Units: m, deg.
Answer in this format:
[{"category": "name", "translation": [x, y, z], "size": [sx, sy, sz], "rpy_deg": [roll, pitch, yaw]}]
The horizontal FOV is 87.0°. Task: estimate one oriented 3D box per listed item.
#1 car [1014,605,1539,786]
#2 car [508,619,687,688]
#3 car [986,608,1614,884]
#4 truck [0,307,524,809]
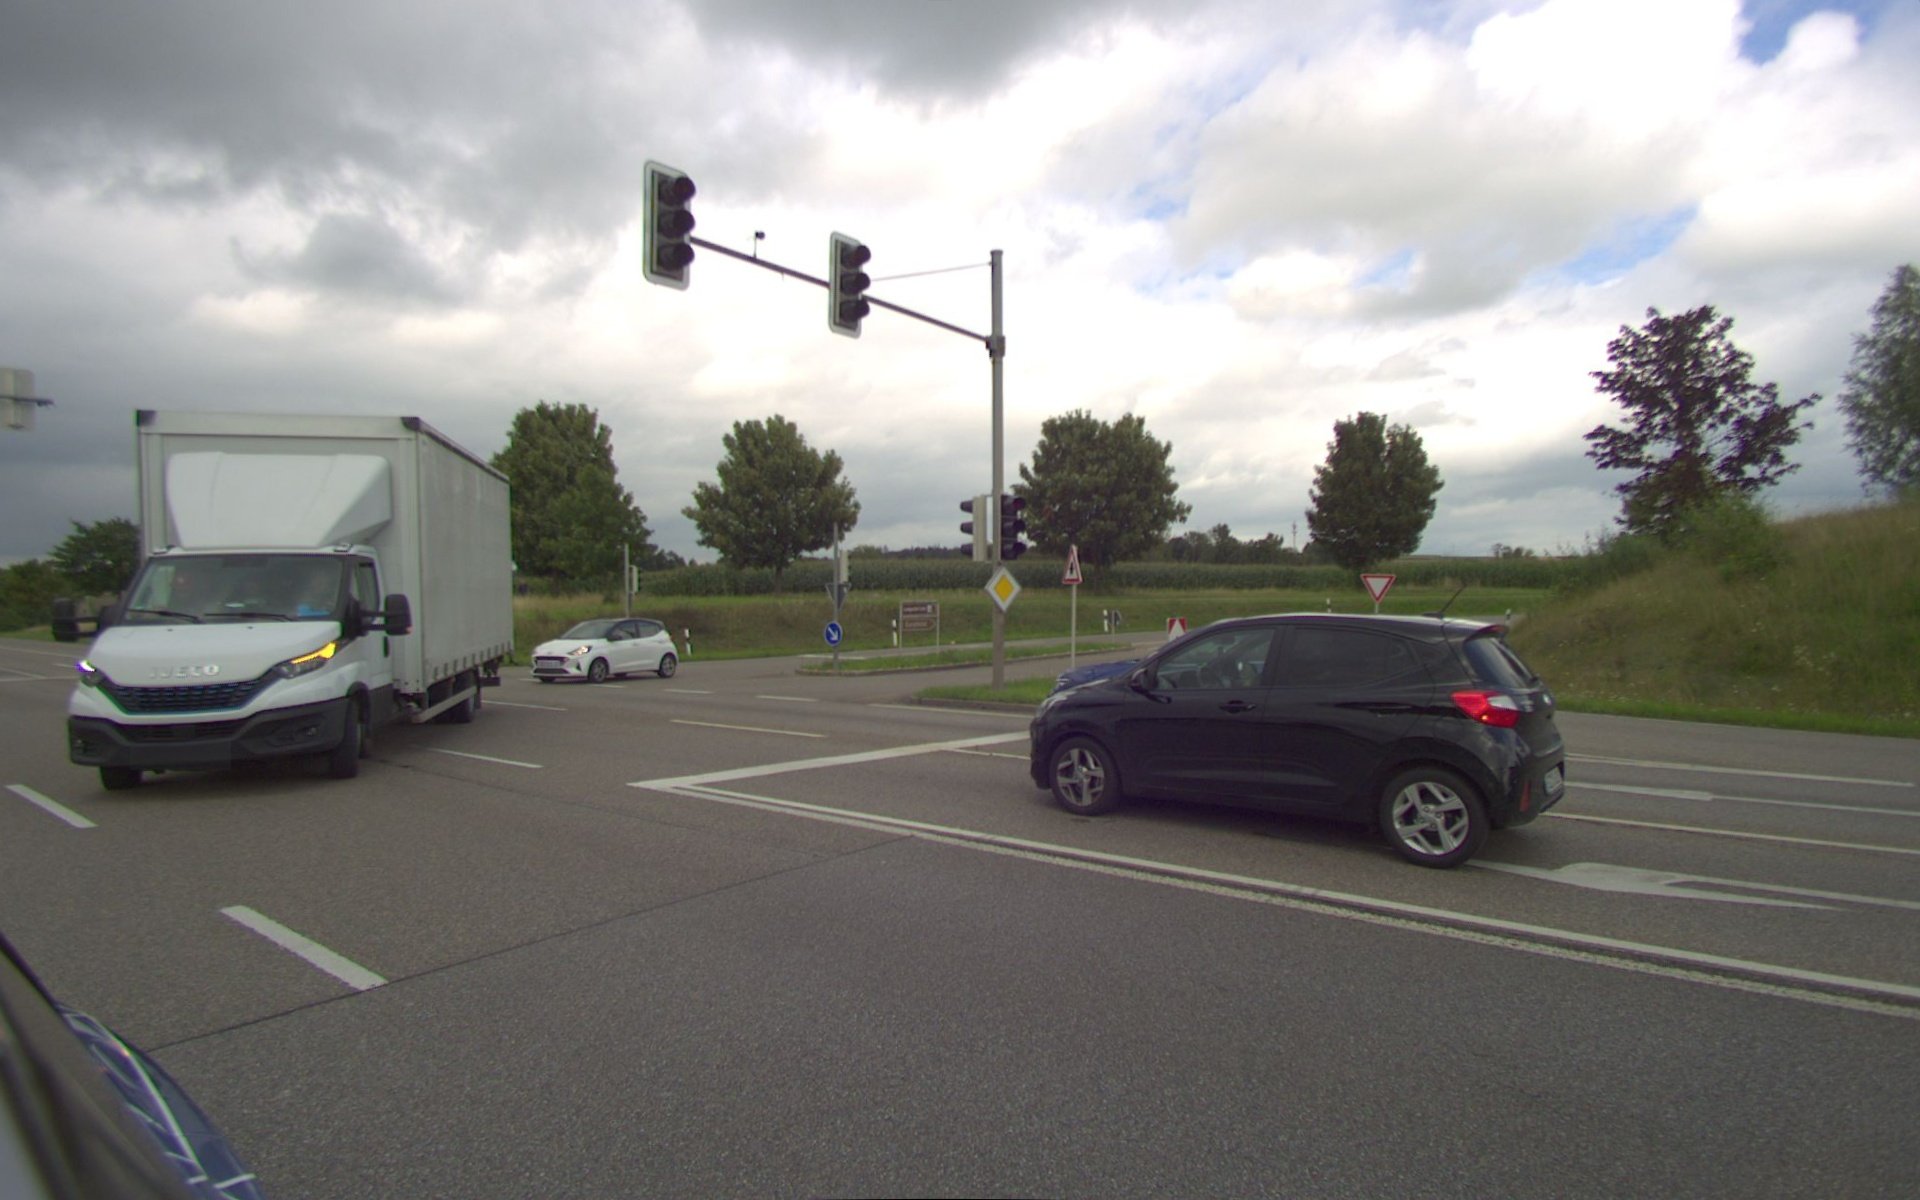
[{"category": "car", "translation": [3.266, 0.864, 11.070], "size": [5.118, 1.546, 2.026], "rpy_deg": [-1, -1, 37]}, {"category": "car", "translation": [-8.551, 1.216, 24.246], "size": [1.800, 1.463, 3.967], "rpy_deg": [-1, -1, 25]}, {"category": "car", "translation": [2.258, 0.814, 7.289], "size": [3.940, 1.454, 1.708], "rpy_deg": [-1, -1, 40]}, {"category": "truck", "translation": [-7.451, -0.247, 12.153], "size": [2.791, 3.792, 8.824], "rpy_deg": [0, -1, -15]}]
